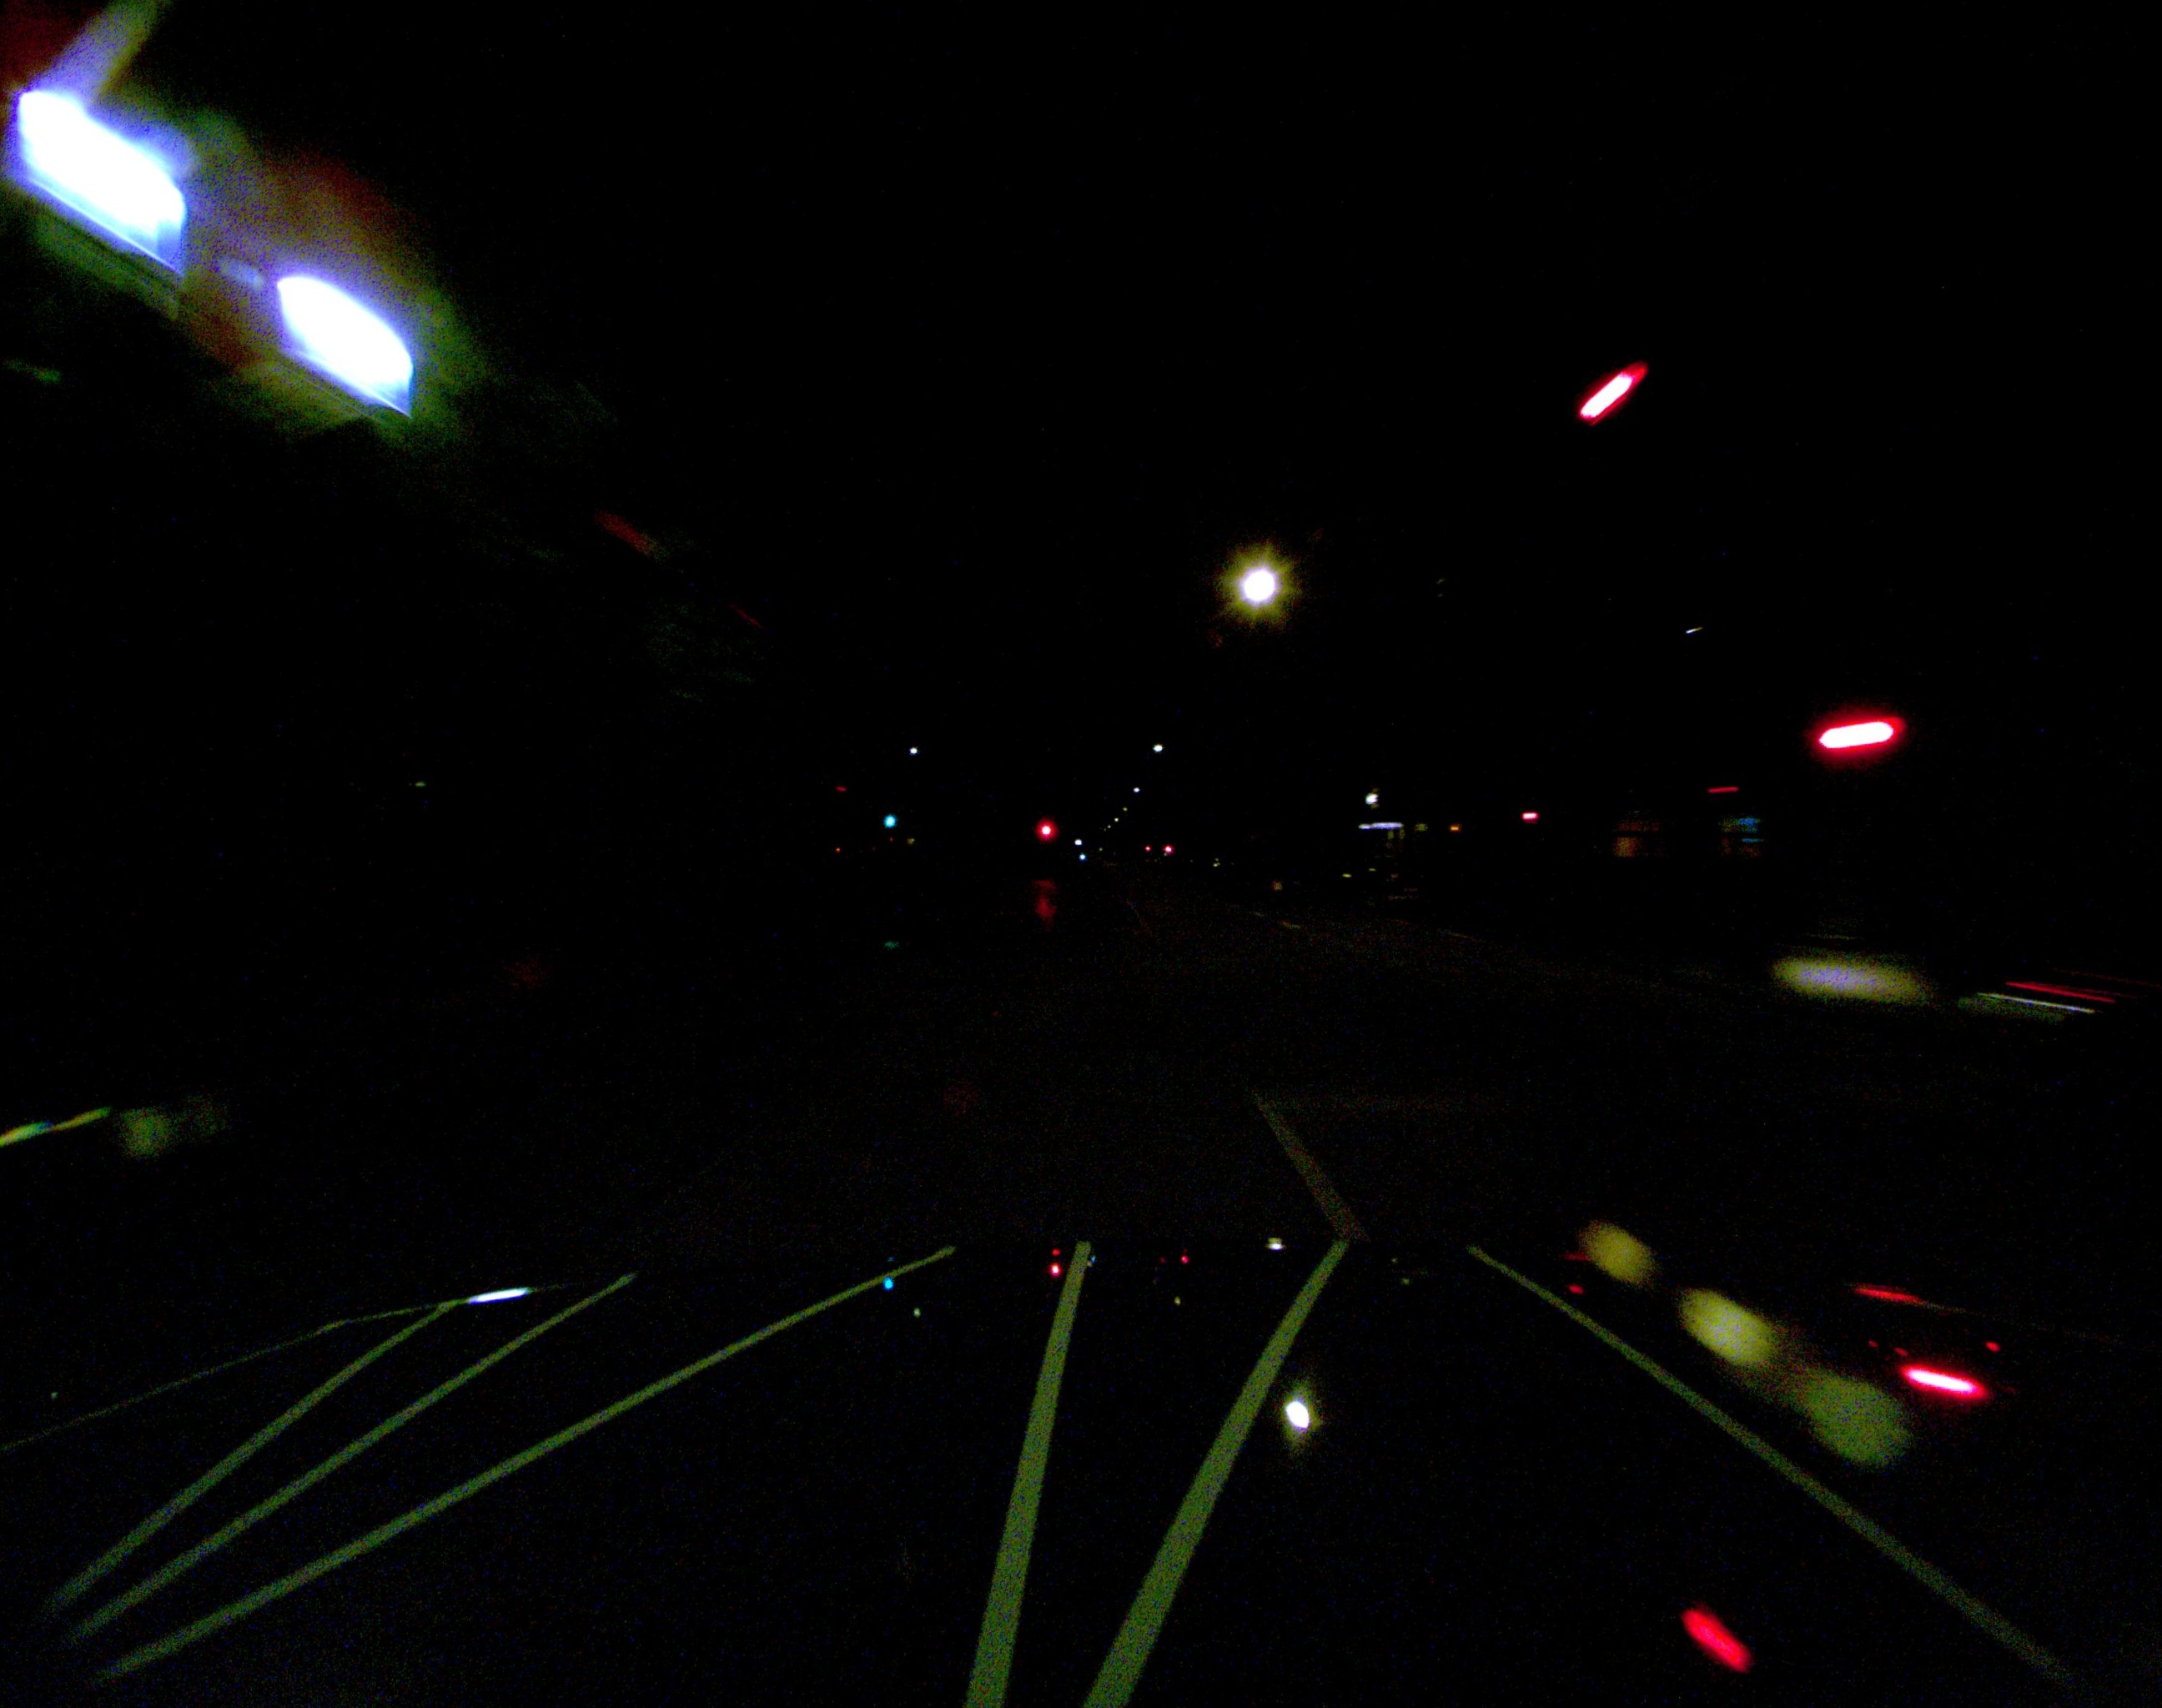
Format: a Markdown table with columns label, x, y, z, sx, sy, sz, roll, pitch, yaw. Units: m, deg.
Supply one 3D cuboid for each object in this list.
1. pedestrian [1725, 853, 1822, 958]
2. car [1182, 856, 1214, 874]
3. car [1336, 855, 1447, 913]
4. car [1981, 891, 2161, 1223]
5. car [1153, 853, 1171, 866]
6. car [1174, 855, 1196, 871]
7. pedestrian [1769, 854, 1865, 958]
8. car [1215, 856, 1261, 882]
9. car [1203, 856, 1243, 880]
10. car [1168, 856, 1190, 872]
| label | x | y | z | sx | sy | sz | roll | pitch | yaw |
| --- | --- | --- | --- | --- | --- | --- | --- | --- | --- |
| pedestrian | 11.777 | 0.842 | 12.962 | 0.710 | 1.680 | 1.125 | 1 | 0 | 12 |
| car | 9.562 | 0.886 | 62.441 | 1.865 | 1.425 | 4.403 | 0 | 0 | -1 |
| car | 9.345 | 0.830 | 23.225 | 1.890 | 1.587 | 4.024 | -1 | 0 | 3 |
| car | 5.562 | 0.933 | 1.970 | 1.719 | 1.421 | 4.000 | 2 | 0 | 2 |
| car | 9.787 | 0.666 | 92.071 | 1.633 | 1.455 | 3.513 | 2 | 0 | -3 |
| car | 9.649 | 0.800 | 70.658 | 1.555 | 1.425 | 4.348 | -1 | 0 | 1 |
| pedestrian | 12.493 | 0.846 | 12.937 | 0.710 | 1.680 | 0.998 | 1 | 0 | 12 |
| car | 9.046 | 0.846 | 44.139 | 1.865 | 1.425 | 4.443 | 0 | 0 | 1 |
| car | 9.144 | 0.893 | 49.211 | 1.865 | 1.470 | 4.473 | 0 | 0 | 1 |
| car | 9.688 | 0.981 | 75.387 | 1.642 | 1.425 | 4.350 | -1 | 0 | 1 |
